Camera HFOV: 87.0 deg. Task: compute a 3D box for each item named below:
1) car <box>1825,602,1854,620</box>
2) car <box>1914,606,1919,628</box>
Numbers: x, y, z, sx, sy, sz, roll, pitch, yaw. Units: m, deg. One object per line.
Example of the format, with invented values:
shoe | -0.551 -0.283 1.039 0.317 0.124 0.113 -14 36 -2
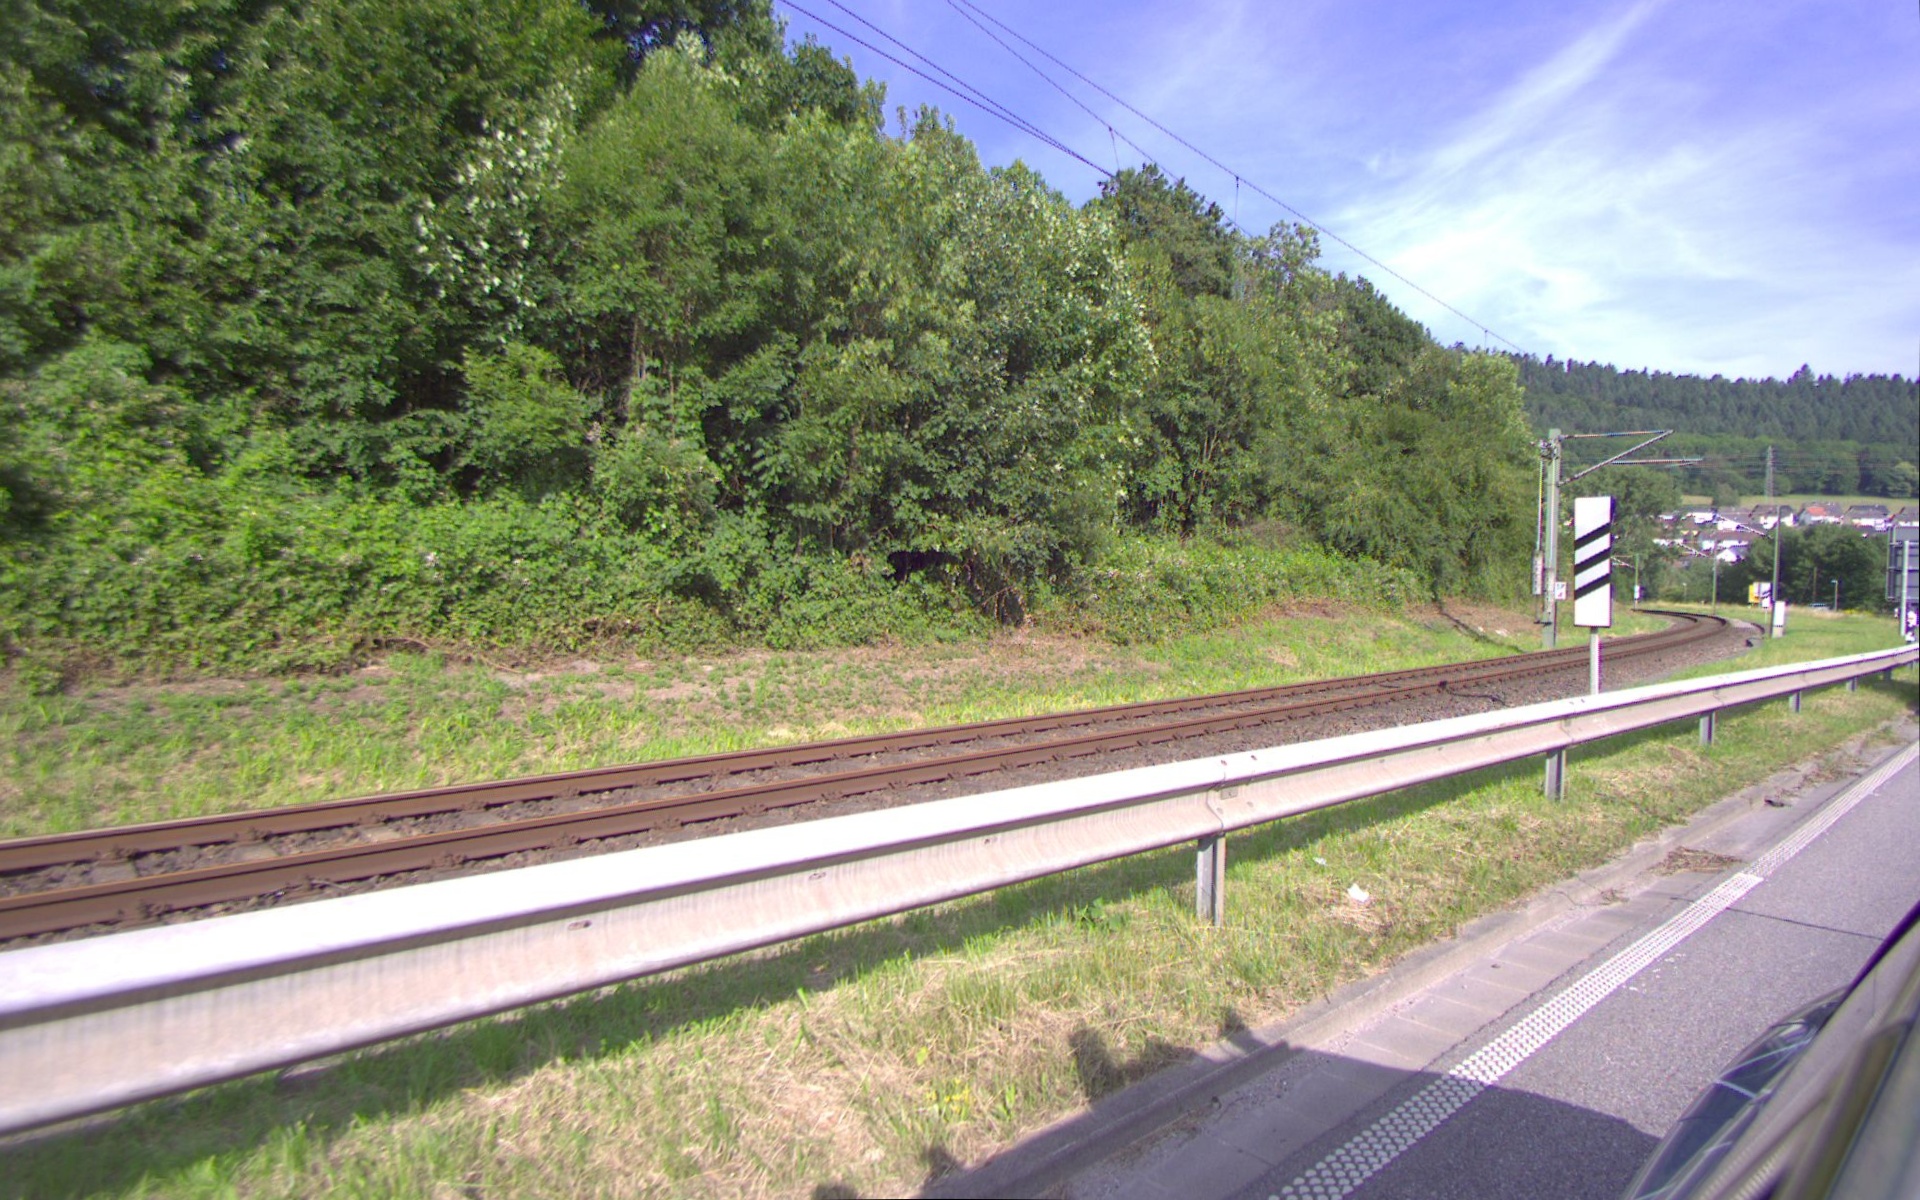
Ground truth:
car | 102.811 1.273 118.352 1.985 2.039 3.954 -1 0 32
car | 88.897 1.555 92.267 1.985 2.039 3.954 -1 0 32
